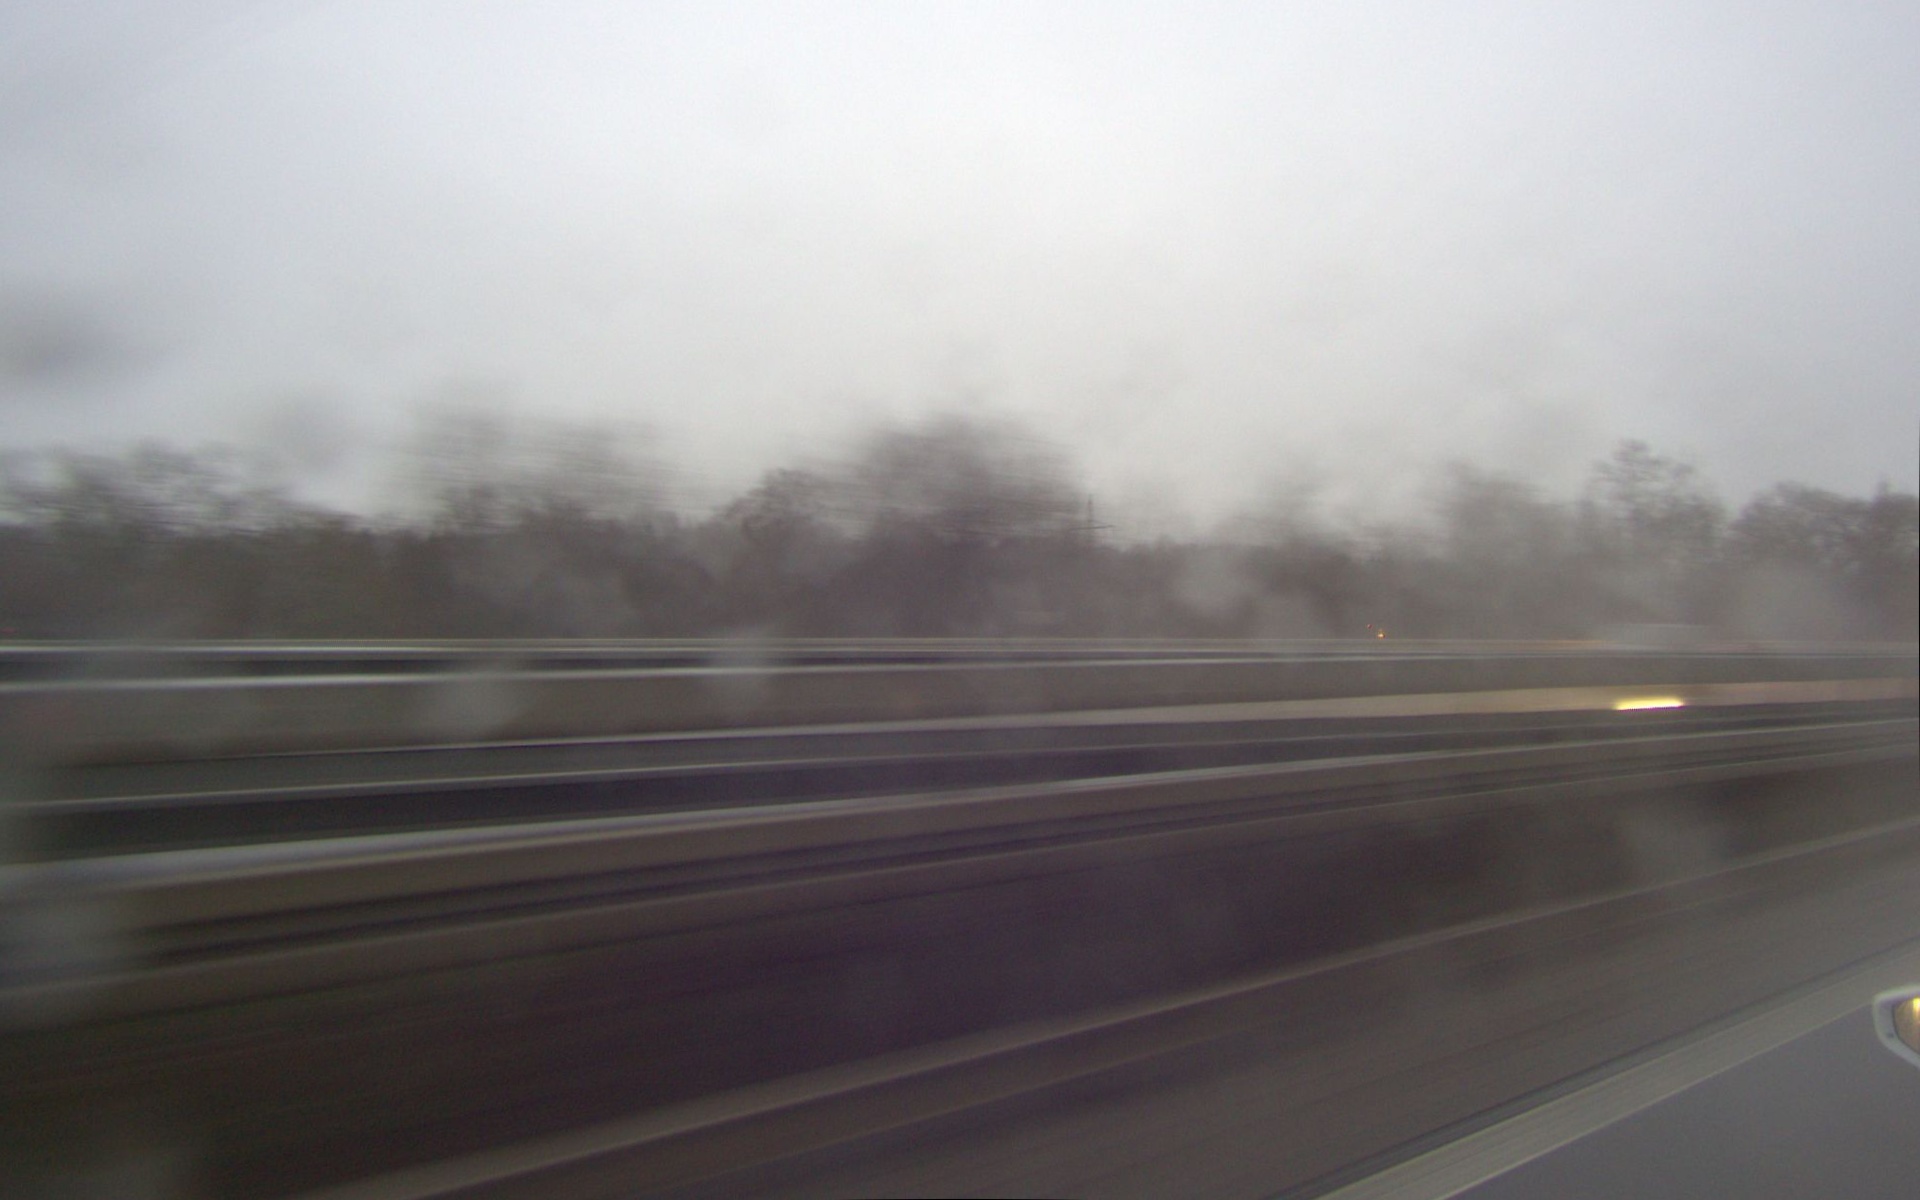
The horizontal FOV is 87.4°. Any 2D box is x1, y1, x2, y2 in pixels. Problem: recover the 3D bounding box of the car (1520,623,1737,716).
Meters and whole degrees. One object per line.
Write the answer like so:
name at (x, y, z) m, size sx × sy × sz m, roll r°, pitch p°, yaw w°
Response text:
car at (14.793, 1.456, 22.177) m, size 4.753 × 1.815 × 2.154 m, roll 1°, pitch 0°, yaw -30°
